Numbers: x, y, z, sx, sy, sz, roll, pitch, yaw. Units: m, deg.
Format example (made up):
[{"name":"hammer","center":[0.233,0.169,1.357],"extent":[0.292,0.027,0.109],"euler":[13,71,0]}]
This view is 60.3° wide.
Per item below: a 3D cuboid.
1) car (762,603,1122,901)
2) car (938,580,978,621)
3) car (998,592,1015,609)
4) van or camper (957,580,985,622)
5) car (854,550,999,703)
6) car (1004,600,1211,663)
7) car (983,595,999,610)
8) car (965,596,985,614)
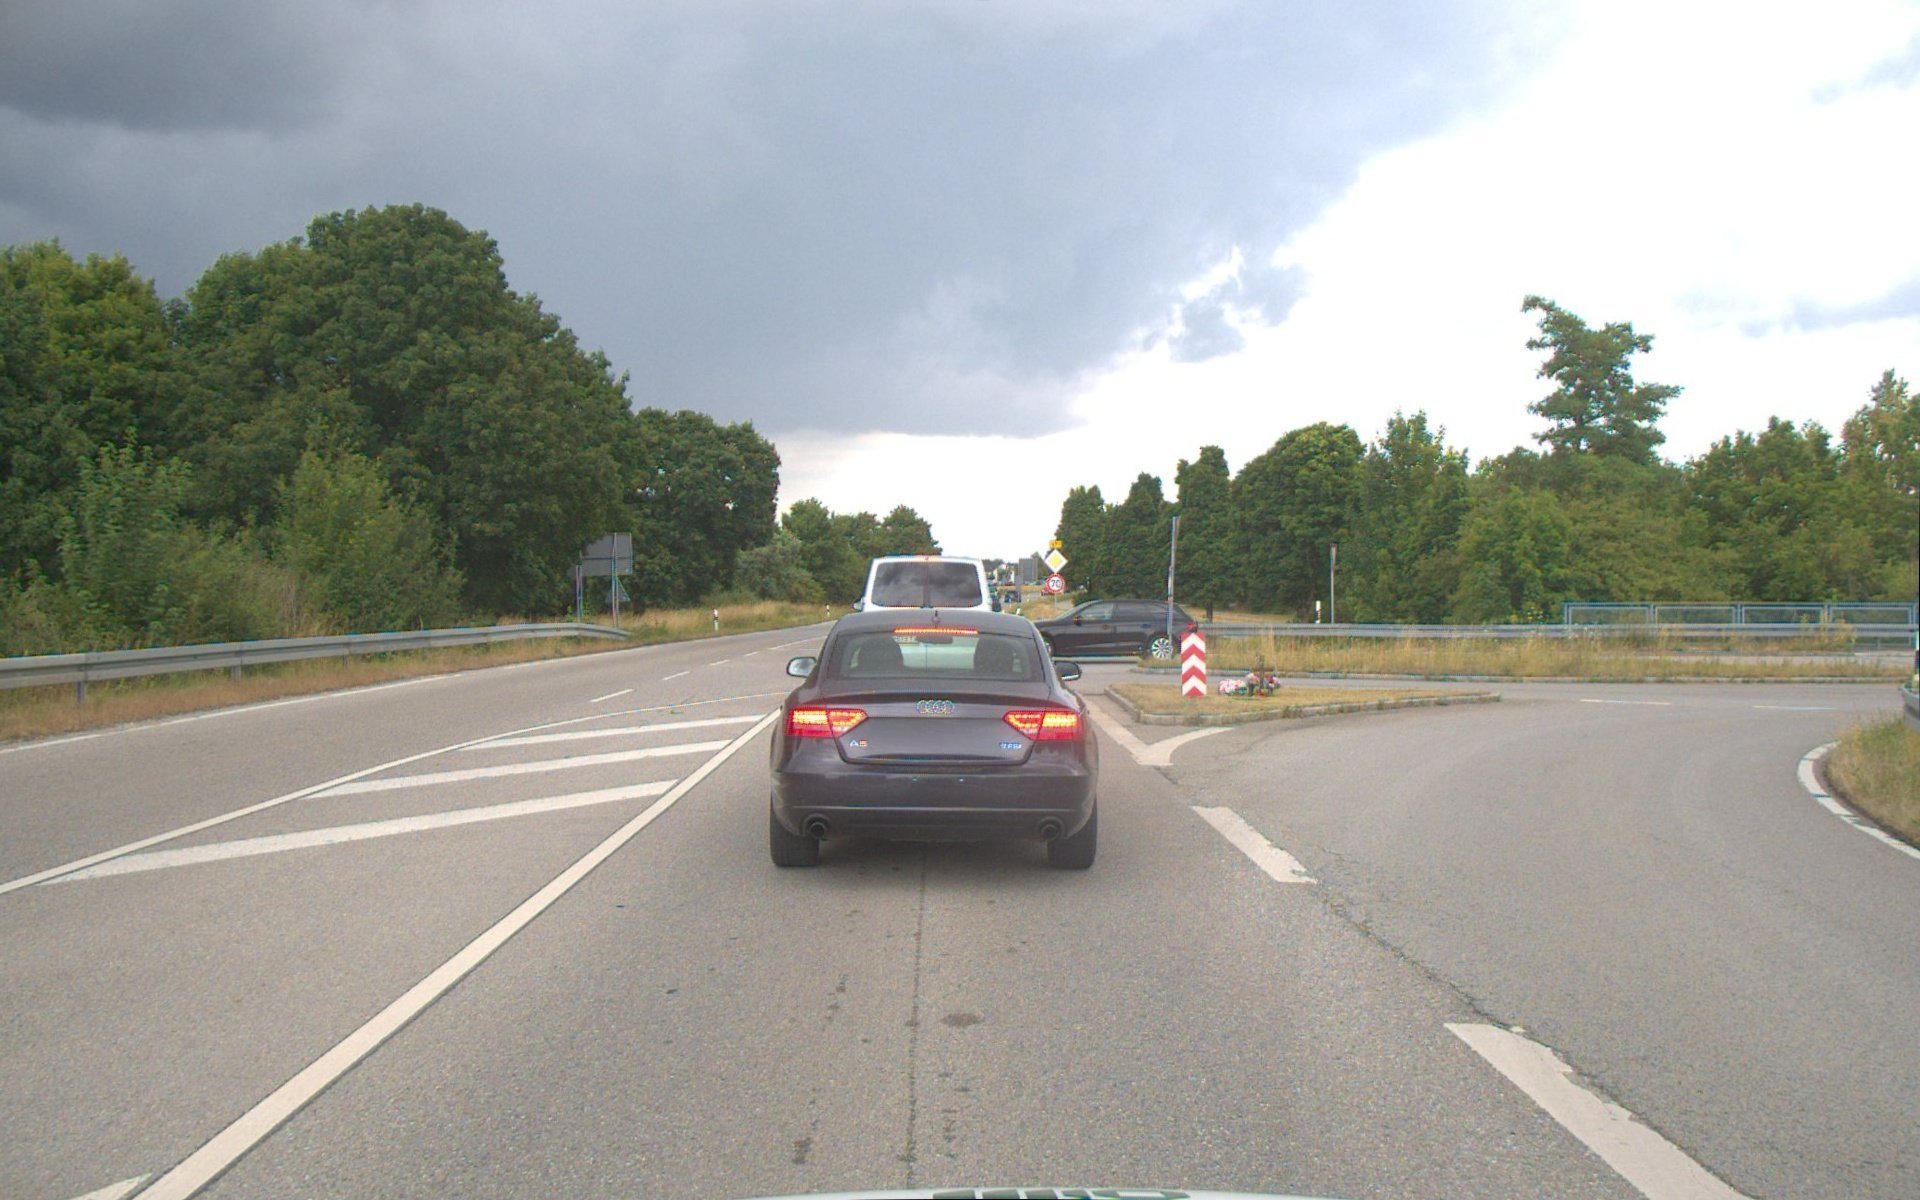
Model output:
[{"name":"car","center":[-0.113,0.753,10.119],"extent":[1.746,1.400,3.999],"euler":[1,0,-1]},{"name":"car","center":[-0.087,0.034,86.657],"extent":[1.952,2.125,4.001],"euler":[0,0,2]},{"name":"car","center":[5.713,0.065,203.253],"extent":[1.953,2.049,3.999],"euler":[0,0,-1]},{"name":"van or camper","center":[0.983,0.113,142.423],"extent":[2.292,3.542,5.719],"euler":[0,0,1]},{"name":"car","center":[-0.449,0.317,22.935],"extent":[1.801,1.915,3.999],"euler":[1,0,-1]},{"name":"car","center":[3.307,0.703,37.605],"extent":[4.503,1.398,1.826],"euler":[0,0,-2]},{"name":"car","center":[3.254,0.260,174.595],"extent":[1.683,1.477,4.000],"euler":[1,0,0]},{"name":"car","center":[1.162,0.362,127.507],"extent":[1.231,1.377,3.468],"euler":[0,0,5]}]
